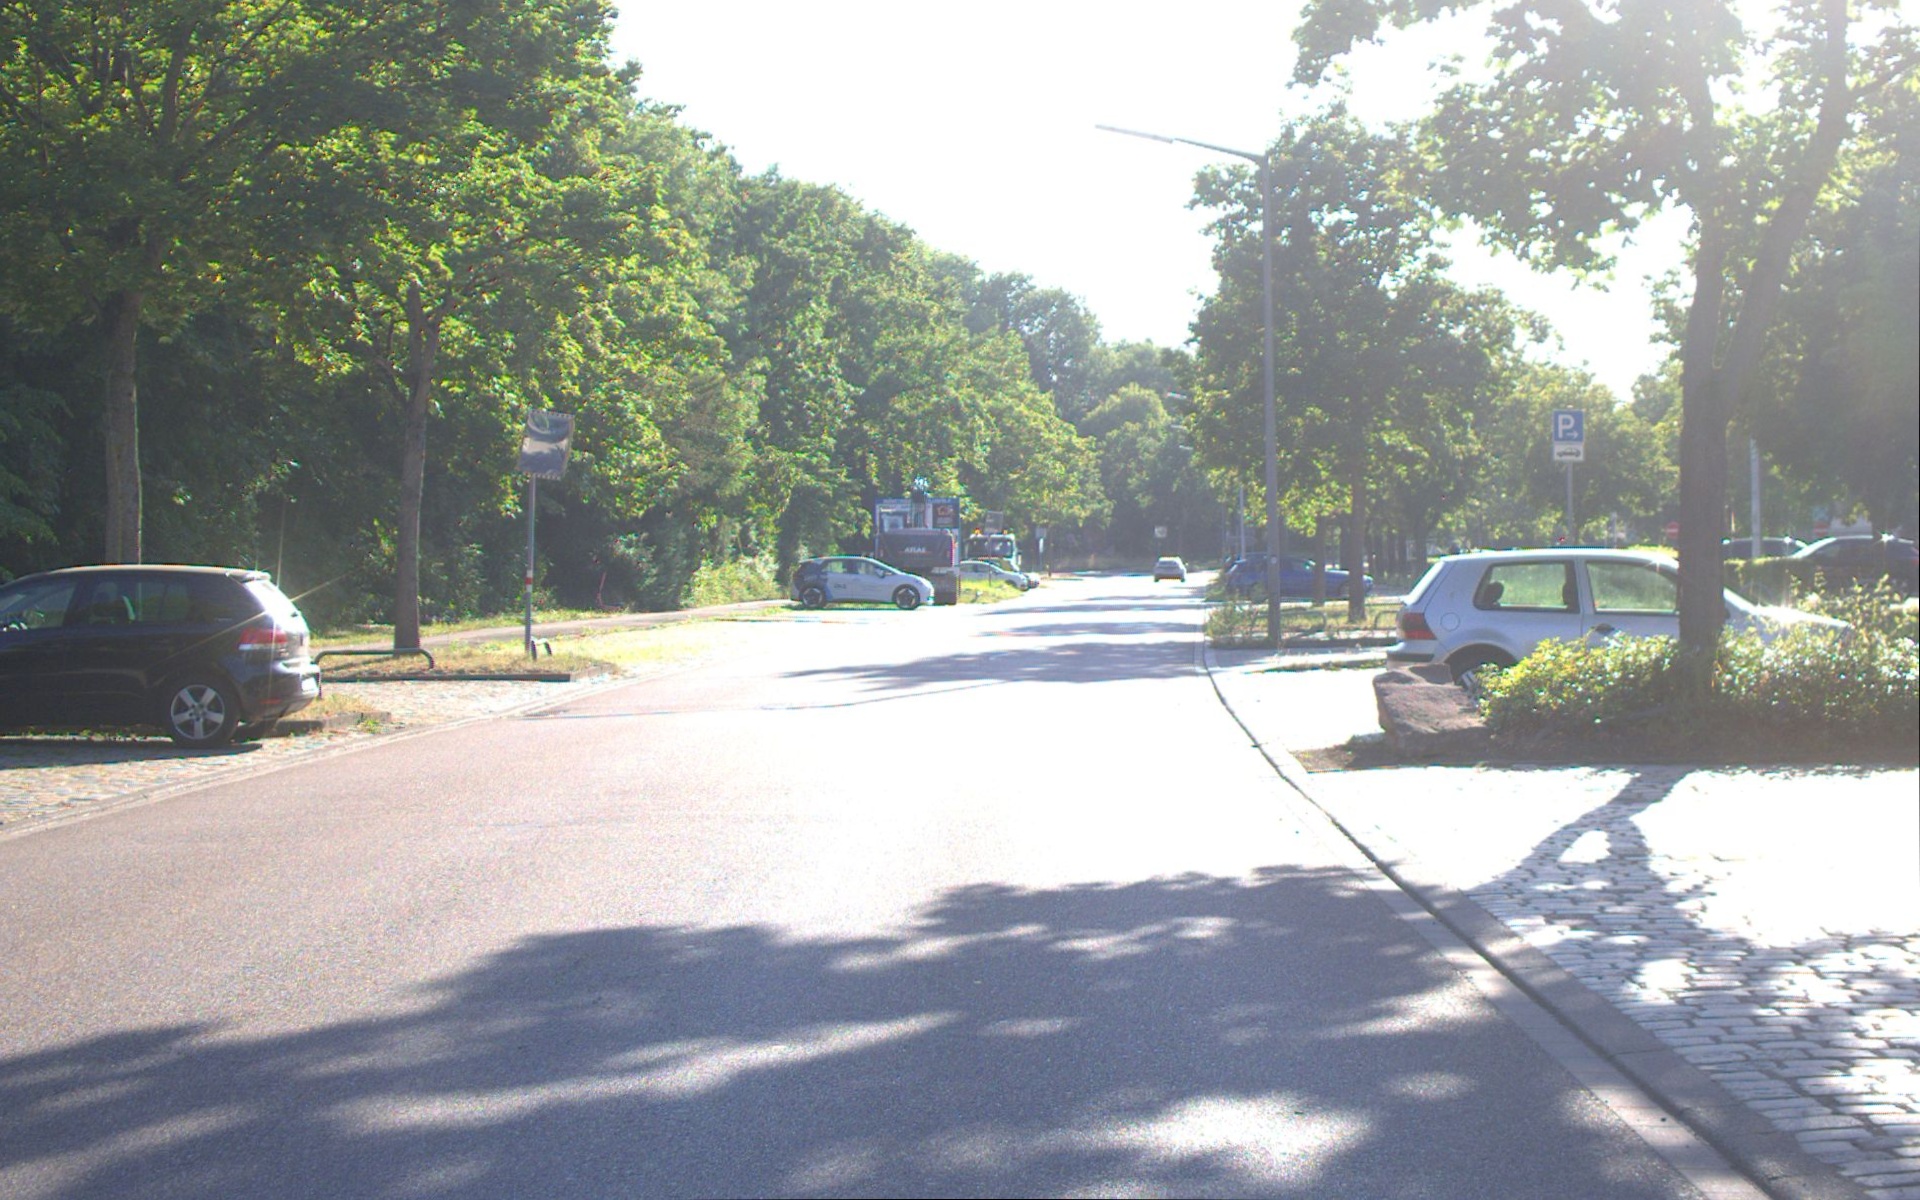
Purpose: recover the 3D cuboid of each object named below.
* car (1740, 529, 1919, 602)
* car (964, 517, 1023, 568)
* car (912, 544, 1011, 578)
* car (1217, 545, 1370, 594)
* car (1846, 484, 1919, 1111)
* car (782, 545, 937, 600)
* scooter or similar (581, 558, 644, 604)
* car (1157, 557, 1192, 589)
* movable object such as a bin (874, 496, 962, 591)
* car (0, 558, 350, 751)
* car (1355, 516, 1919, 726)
[{"bbox_3d":[21.635,-0.853,84.598,4.430,1.700,2.059,-1,1,3],"label":"car"},{"bbox_3d":[1.595,-2.740,164.212,2.516,2.378,4.373,-1,1,-3],"label":"car"},{"bbox_3d":[0.067,-1.758,154.806,4.358,1.474,2.000,-1,1,-2],"label":"car"},{"bbox_3d":[10.701,-0.988,110.397,4.842,1.474,2.000,-1,1,5],"label":"car"},{"bbox_3d":[4.986,0.459,8.154,5.175,1.568,2.158,-1,1,-1],"label":"car"},{"bbox_3d":[-2.969,-0.813,101.958,4.359,1.542,2.000,-1,1,5],"label":"car"},{"bbox_3d":[-8.862,-0.480,87.650,0.577,1.141,1.580,0,1,44],"label":"scooter or similar"},{"bbox_3d":[12.944,-1.658,207.489,1.993,1.897,4.000,-1,0,2],"label":"car"},{"bbox_3d":[-1.374,-1.889,114.646,2.838,3.058,4.927,-1,1,0],"label":"movable object such as a bin"},{"bbox_3d":[-7.463,0.410,28.648,4.358,1.474,2.000,1,1,1],"label":"car"},{"bbox_3d":[5.535,0.163,28.182,4.360,1.474,1.999,-3,0,11],"label":"car"}]
